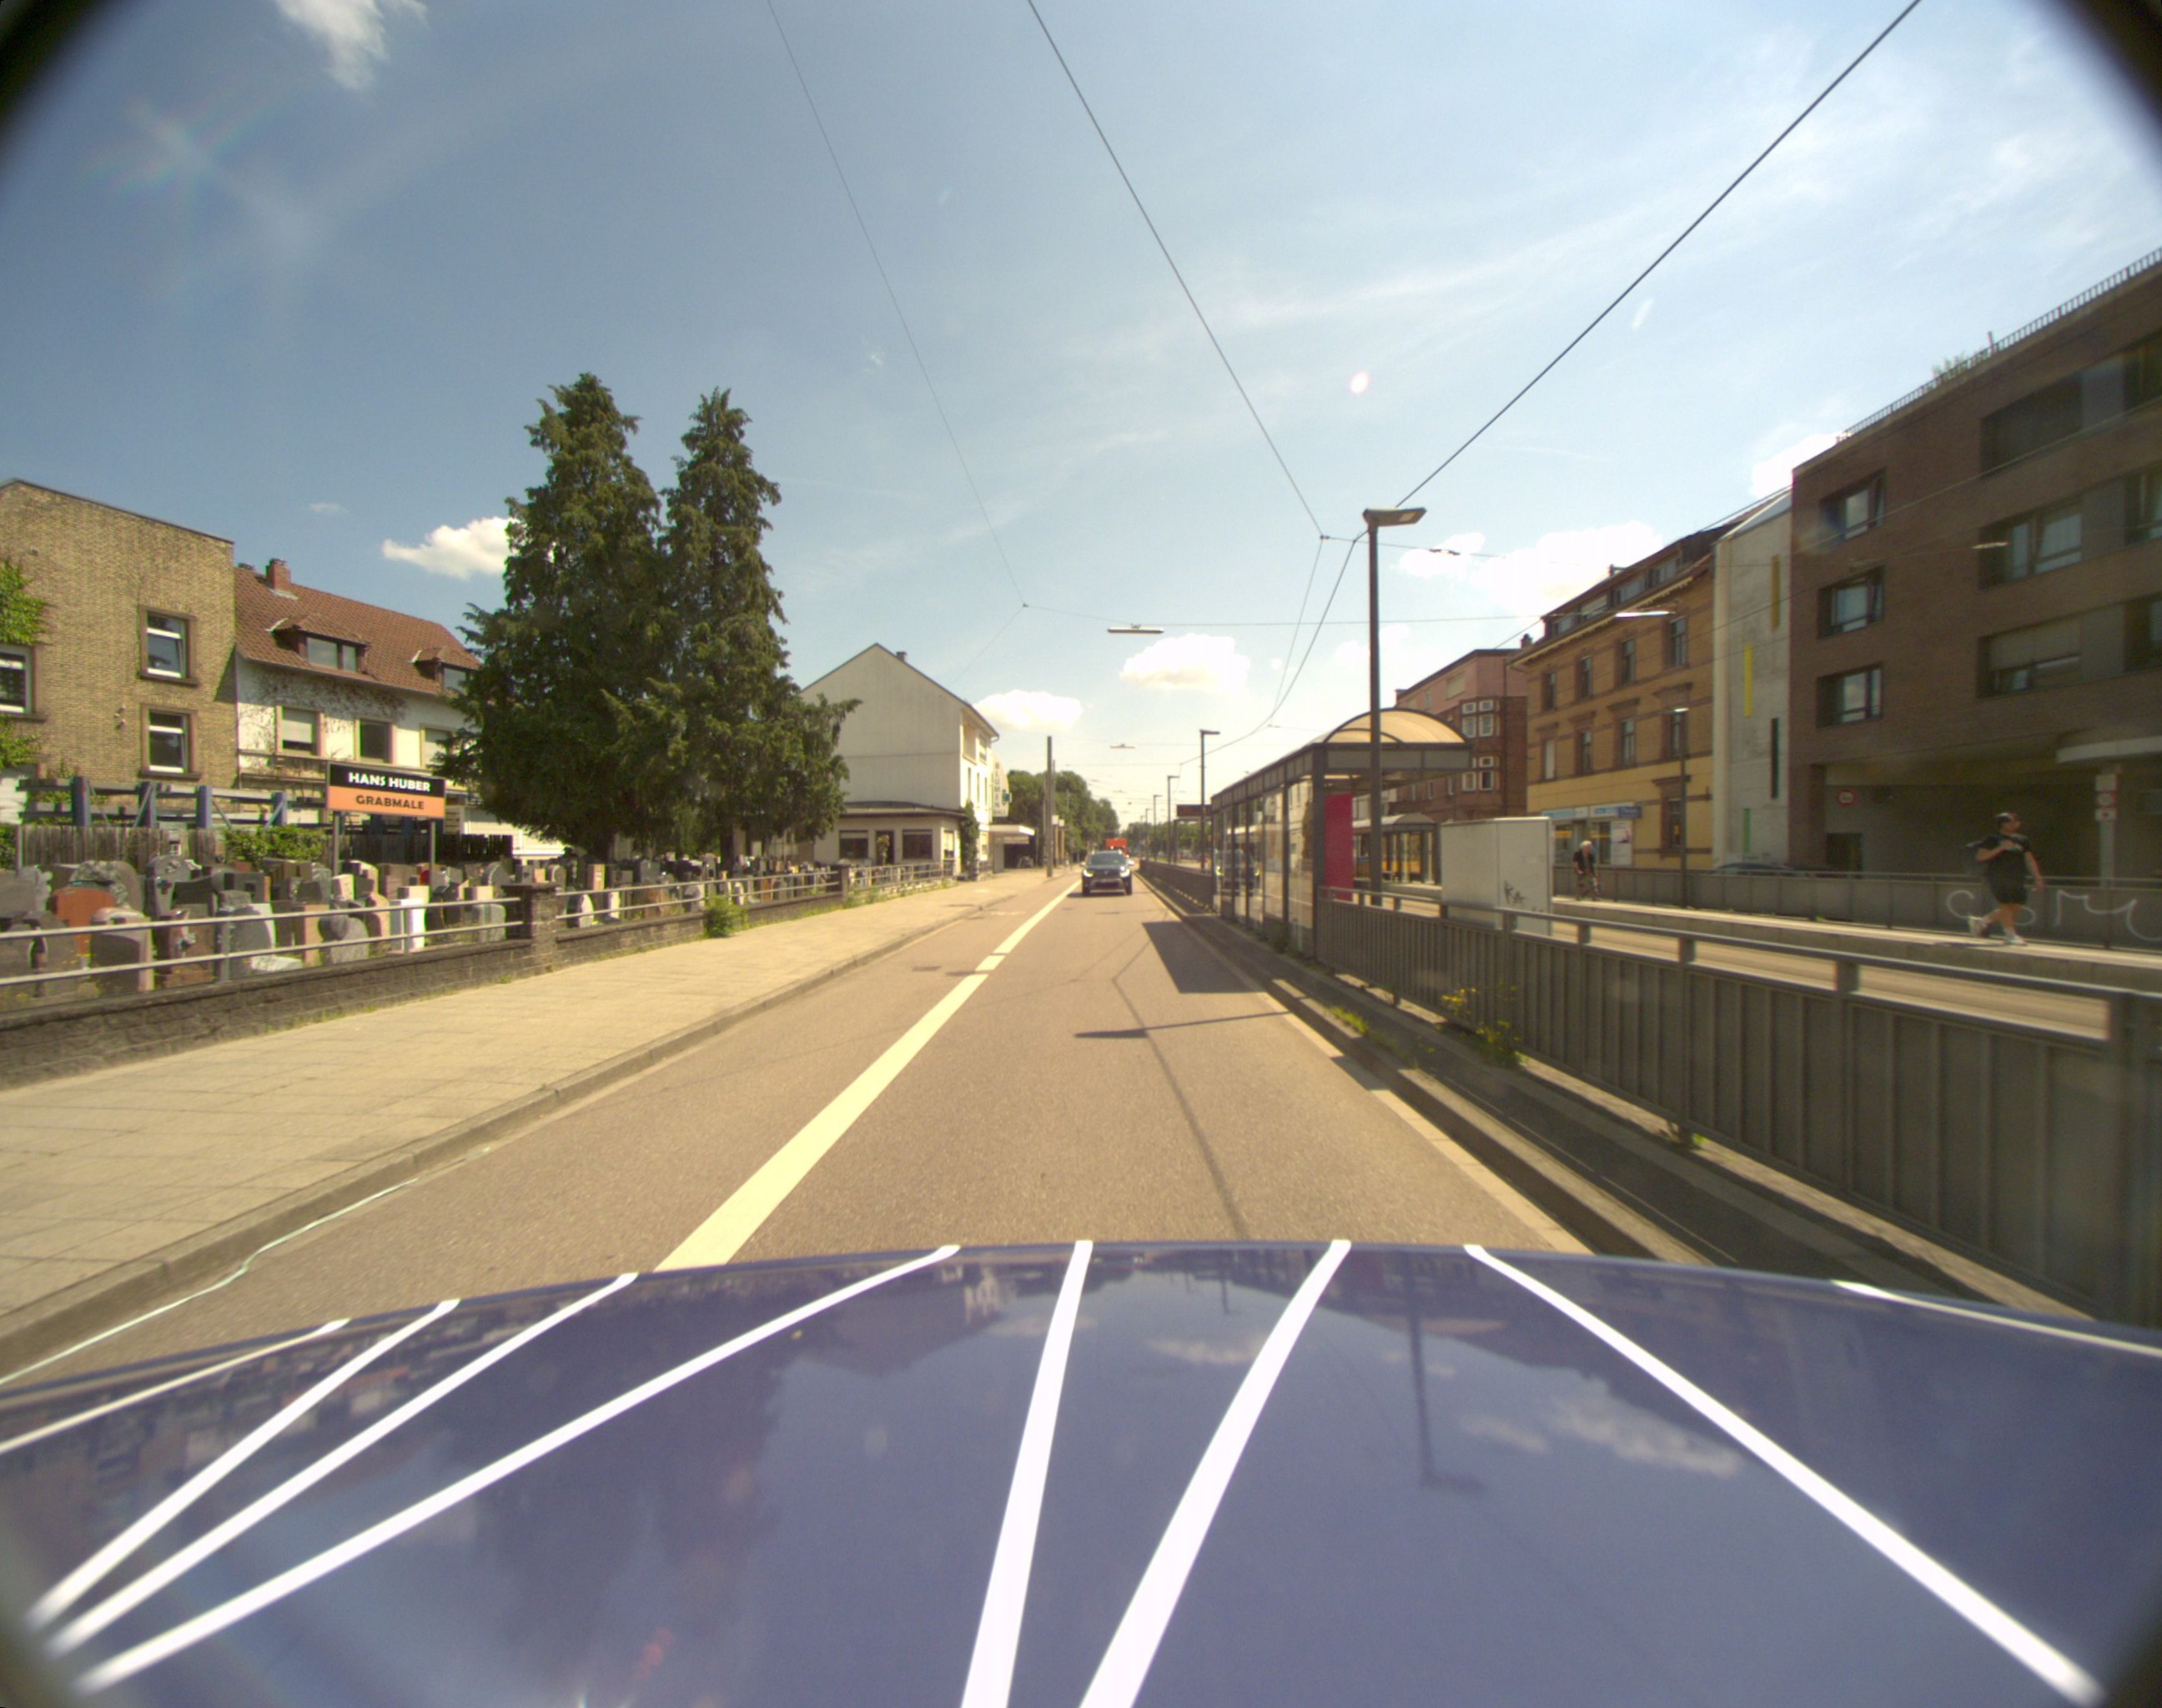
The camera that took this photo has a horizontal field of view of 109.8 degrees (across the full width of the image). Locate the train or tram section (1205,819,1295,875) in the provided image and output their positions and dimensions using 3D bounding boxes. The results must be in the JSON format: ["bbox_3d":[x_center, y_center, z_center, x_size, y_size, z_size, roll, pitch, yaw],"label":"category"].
[{"bbox_3d":[12.457,-0.581,58.650,3.258,3.546,20.502,0,1,3],"label":"train or tram section"}]

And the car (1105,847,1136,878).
[{"bbox_3d":[2.656,0.543,51.257,1.998,2.002,4.000,0,1,3],"label":"car"}]

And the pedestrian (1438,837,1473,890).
[{"bbox_3d":[12.900,0.320,26.196,0.762,1.789,0.952,0,1,2],"label":"pedestrian"}]

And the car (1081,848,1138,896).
[{"bbox_3d":[1.043,0.610,27.420,1.845,1.564,4.488,-2,0,2],"label":"car"}]

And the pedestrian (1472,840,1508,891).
[{"bbox_3d":[13.657,0.376,25.373,0.762,1.685,0.809,0,1,2],"label":"pedestrian"}]

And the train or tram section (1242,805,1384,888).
[{"bbox_3d":[11.581,-0.419,40.463,3.242,3.546,16.350,0,1,3],"label":"train or tram section"}]

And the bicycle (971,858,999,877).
[{"bbox_3d":[-5.660,0.800,44.720,1.535,1.080,0.430,2,1,9],"label":"bicycle"}]

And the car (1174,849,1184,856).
[{"bbox_3d":[24.452,-0.386,189.883,1.998,1.441,4.822,-1,0,4],"label":"car"}]

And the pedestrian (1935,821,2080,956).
[{"bbox_3d":[12.664,0.448,10.427,0.687,1.750,1.033,0,1,2],"label":"pedestrian"}]

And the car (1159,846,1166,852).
[{"bbox_3d":[27.249,-1.638,255.004,1.863,1.865,4.554,0,0,-1],"label":"car"}]

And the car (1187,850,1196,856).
[{"bbox_3d":[28.893,-0.371,198.401,1.744,1.586,4.000,0,0,2],"label":"car"}]

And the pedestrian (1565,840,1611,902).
[{"bbox_3d":[13.149,0.433,19.723,0.687,1.587,0.761,0,1,2],"label":"pedestrian"}]

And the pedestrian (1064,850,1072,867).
[{"bbox_3d":[-1.316,0.438,76.193,0.563,1.656,0.683,2,1,26],"label":"pedestrian"}]
